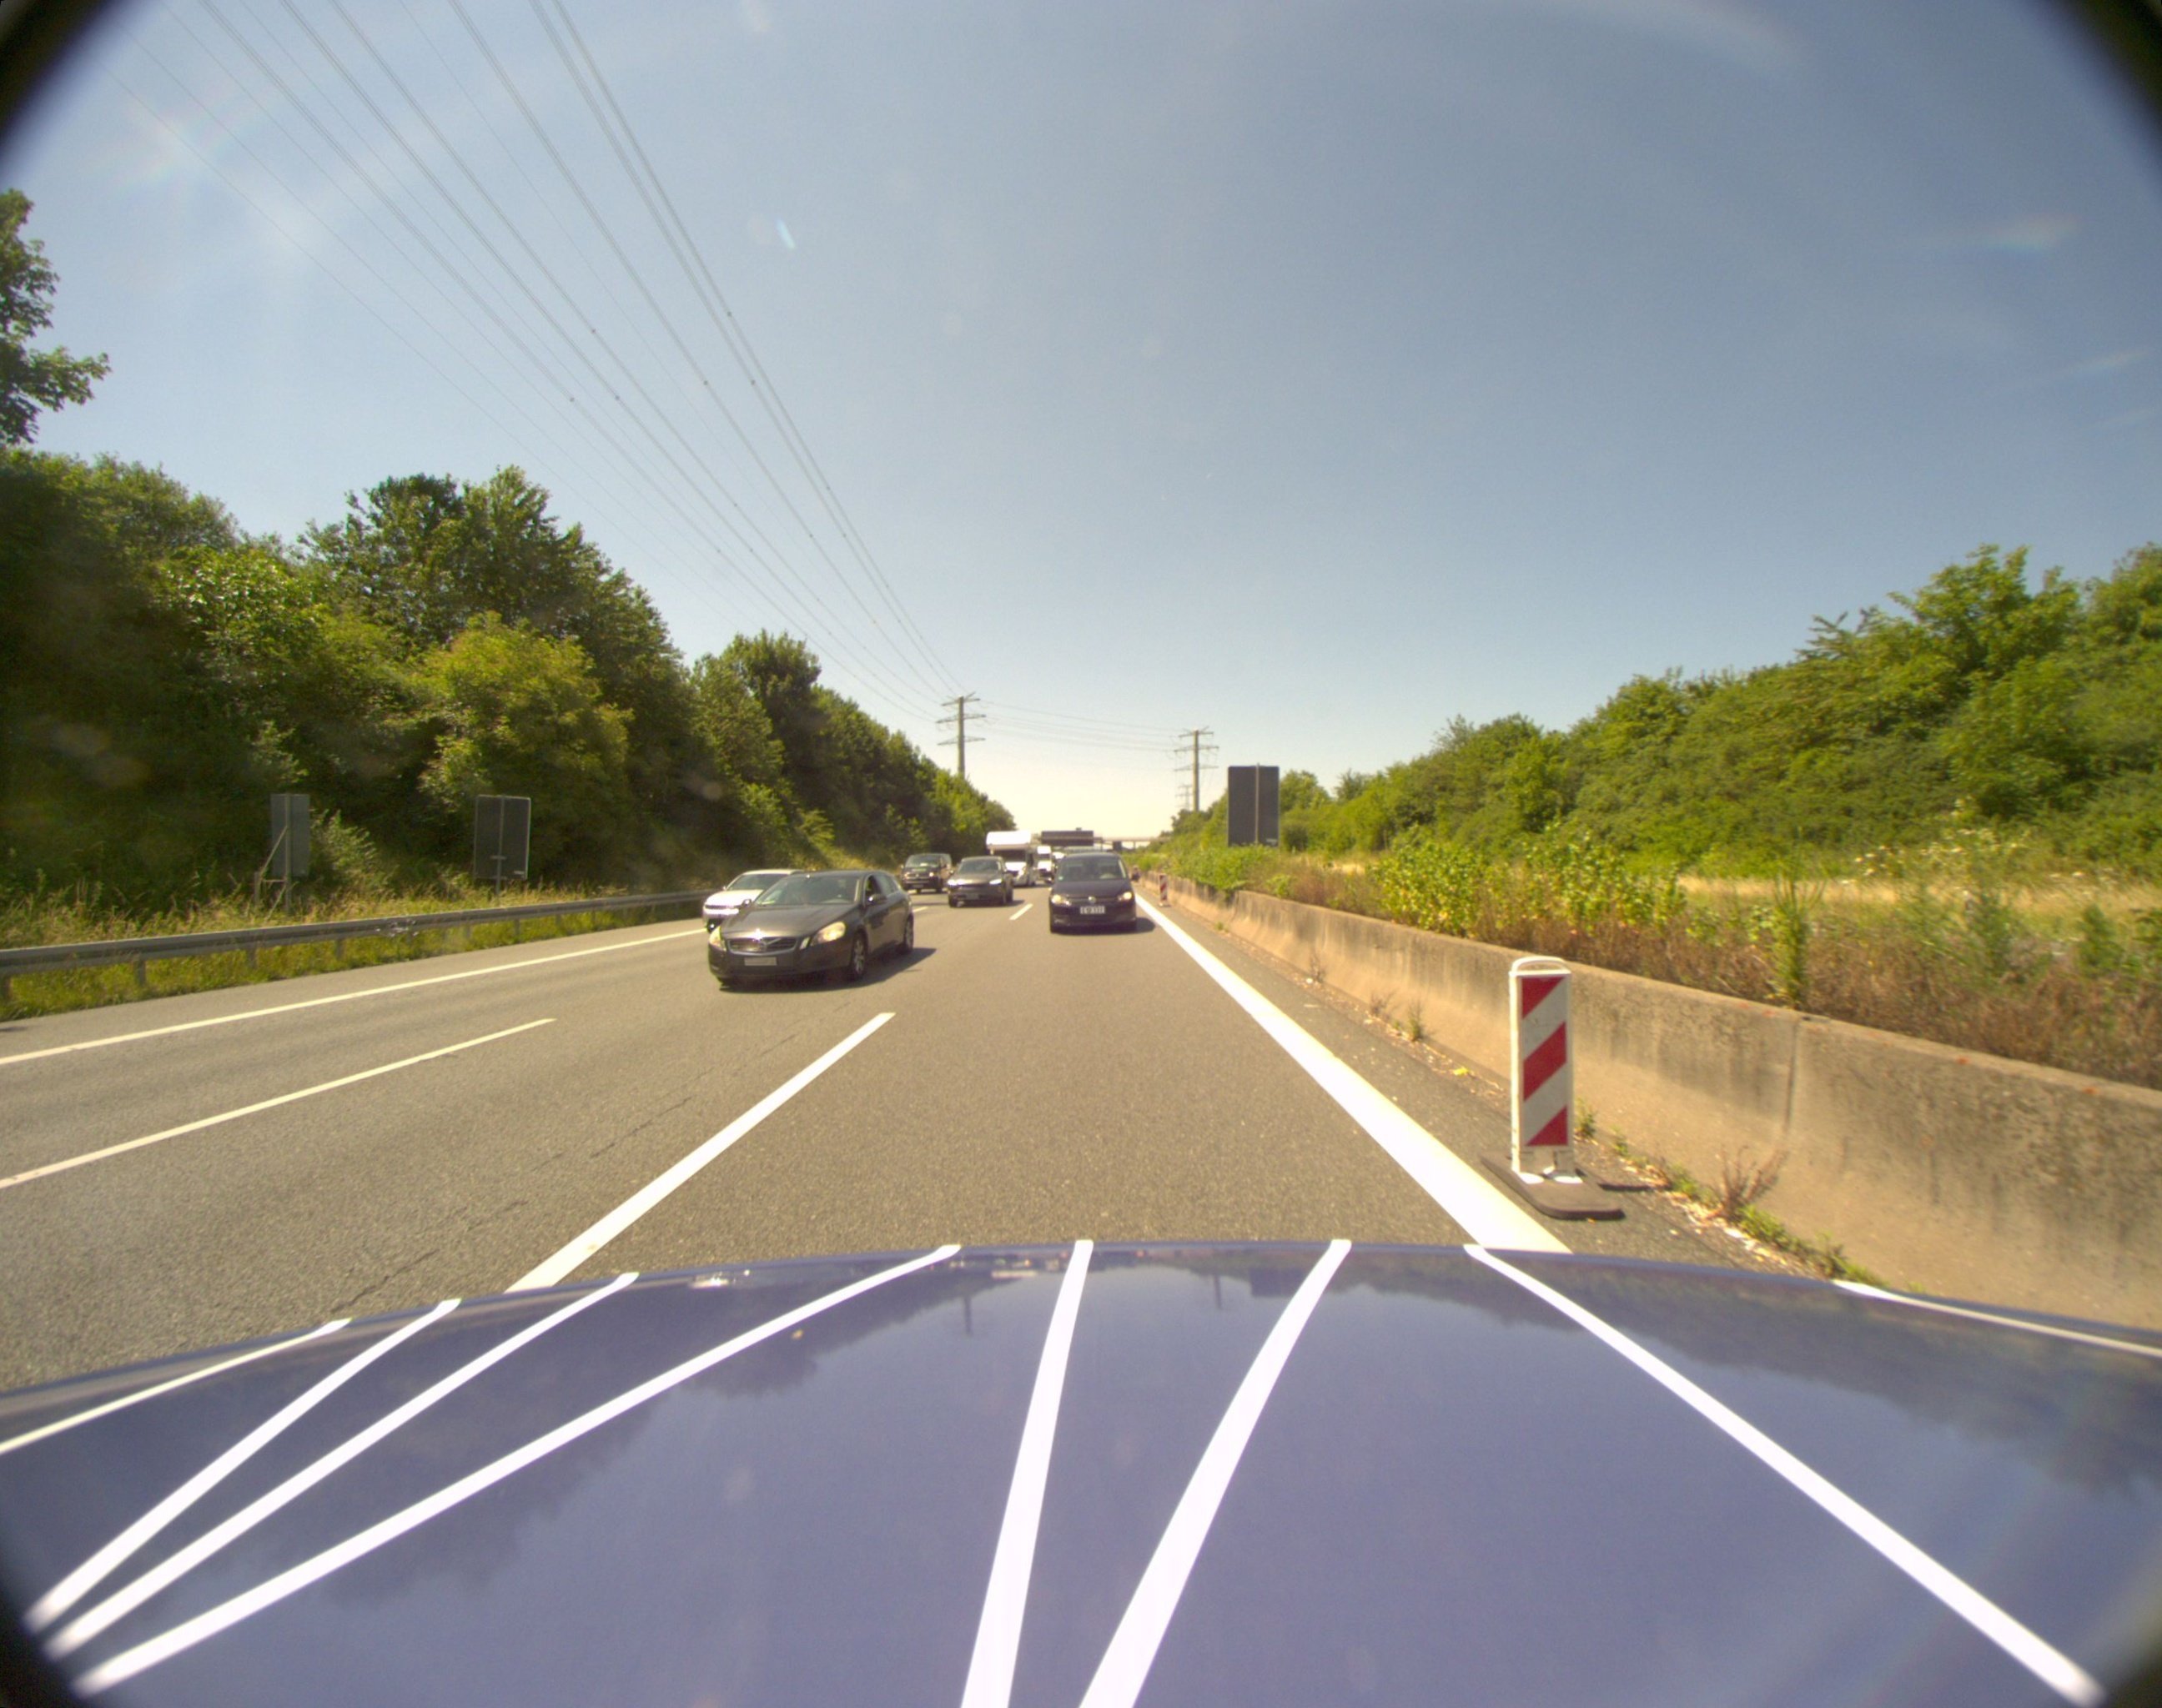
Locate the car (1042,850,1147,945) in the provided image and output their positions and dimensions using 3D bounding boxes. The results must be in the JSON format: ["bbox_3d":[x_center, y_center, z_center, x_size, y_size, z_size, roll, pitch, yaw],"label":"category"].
[{"bbox_3d":[0.242,0.794,16.334,1.892,1.693,4.383,-2,0,0],"label":"car"}]

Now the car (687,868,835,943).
[{"bbox_3d":[-7.509,1.140,18.301,1.745,1.461,4.014,-2,0,1],"label":"car"}]

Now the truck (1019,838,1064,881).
[{"bbox_3d":[-2.945,0.359,59.027,2.514,2.997,9.898,-2,0,2],"label":"truck"}]

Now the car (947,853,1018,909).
[{"bbox_3d":[-3.323,0.857,26.429,1.892,1.693,4.383,-2,0,0],"label":"car"}]

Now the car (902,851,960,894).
[{"bbox_3d":[-7.332,0.868,37.528,1.788,1.893,4.698,-2,0,1],"label":"car"}]

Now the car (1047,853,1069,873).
[{"bbox_3d":[-2.159,0.831,71.011,1.892,1.693,4.383,-2,0,0],"label":"car"}]

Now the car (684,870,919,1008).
[{"bbox_3d":[-3.719,1.037,11.009,1.800,1.429,4.230,-2,0,0],"label":"car"}]

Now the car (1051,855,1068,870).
[{"bbox_3d":[-2.566,0.969,92.489,1.892,1.693,4.383,-2,0,0],"label":"car"}]

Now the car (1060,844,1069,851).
[{"bbox_3d":[-4.426,-1.744,203.696,1.998,2.002,4.000,-2,1,1],"label":"car"}]

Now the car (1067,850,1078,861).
[{"bbox_3d":[-1.691,0.314,157.455,1.998,2.002,4.000,-2,1,1],"label":"car"}]

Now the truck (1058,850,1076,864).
[{"bbox_3d":[-2.270,0.485,126.213,2.408,2.203,6.744,-2,0,2],"label":"truck"}]

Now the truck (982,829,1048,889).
[{"bbox_3d":[-3.606,0.217,44.151,2.514,2.997,9.898,-2,0,2],"label":"truck"}]
